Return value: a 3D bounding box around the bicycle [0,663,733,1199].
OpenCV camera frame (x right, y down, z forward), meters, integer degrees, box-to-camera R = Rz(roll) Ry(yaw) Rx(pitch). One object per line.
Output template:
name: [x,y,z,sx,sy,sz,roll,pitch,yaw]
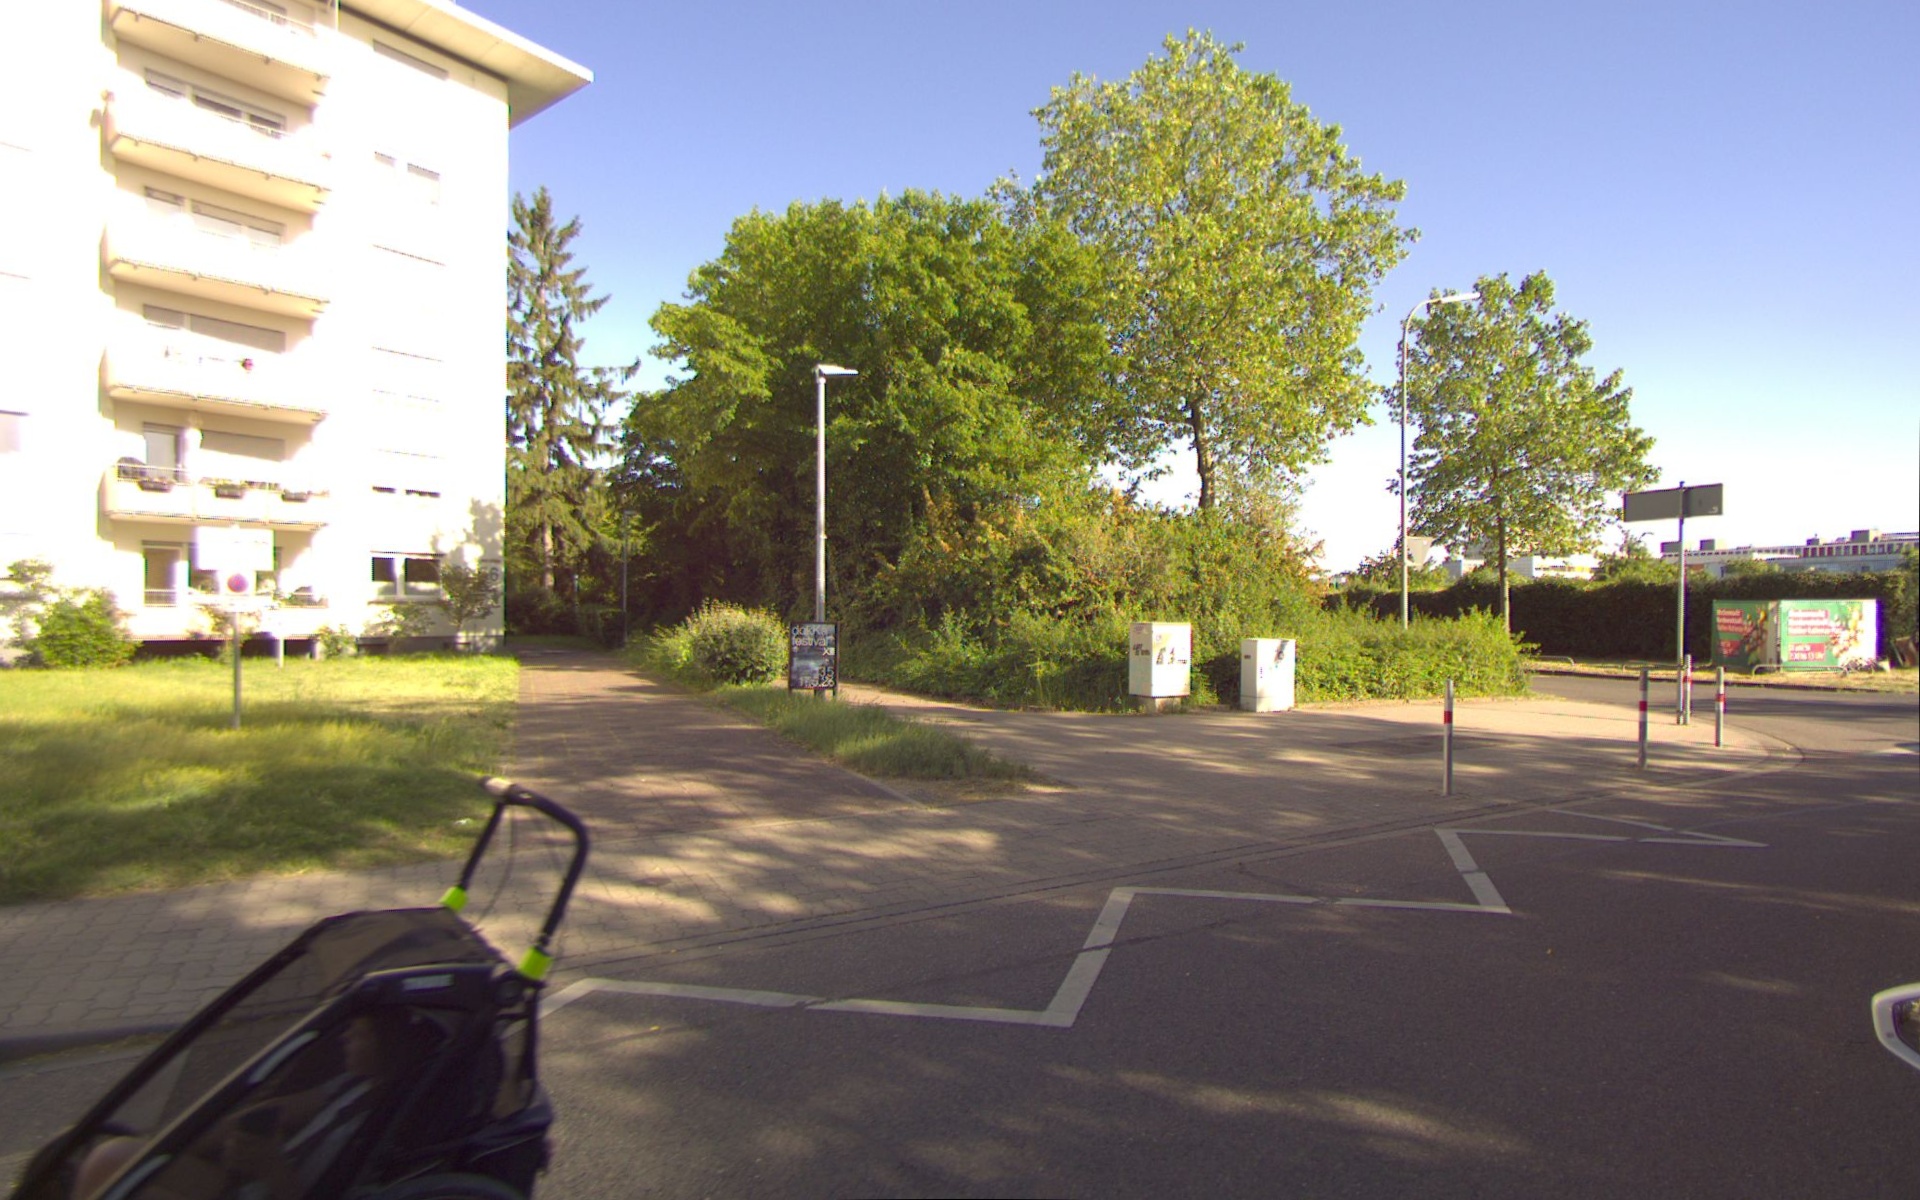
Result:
bicycle: [-2.022,0.832,1.491,3.183,1.389,0.847,1,-1,-31]
